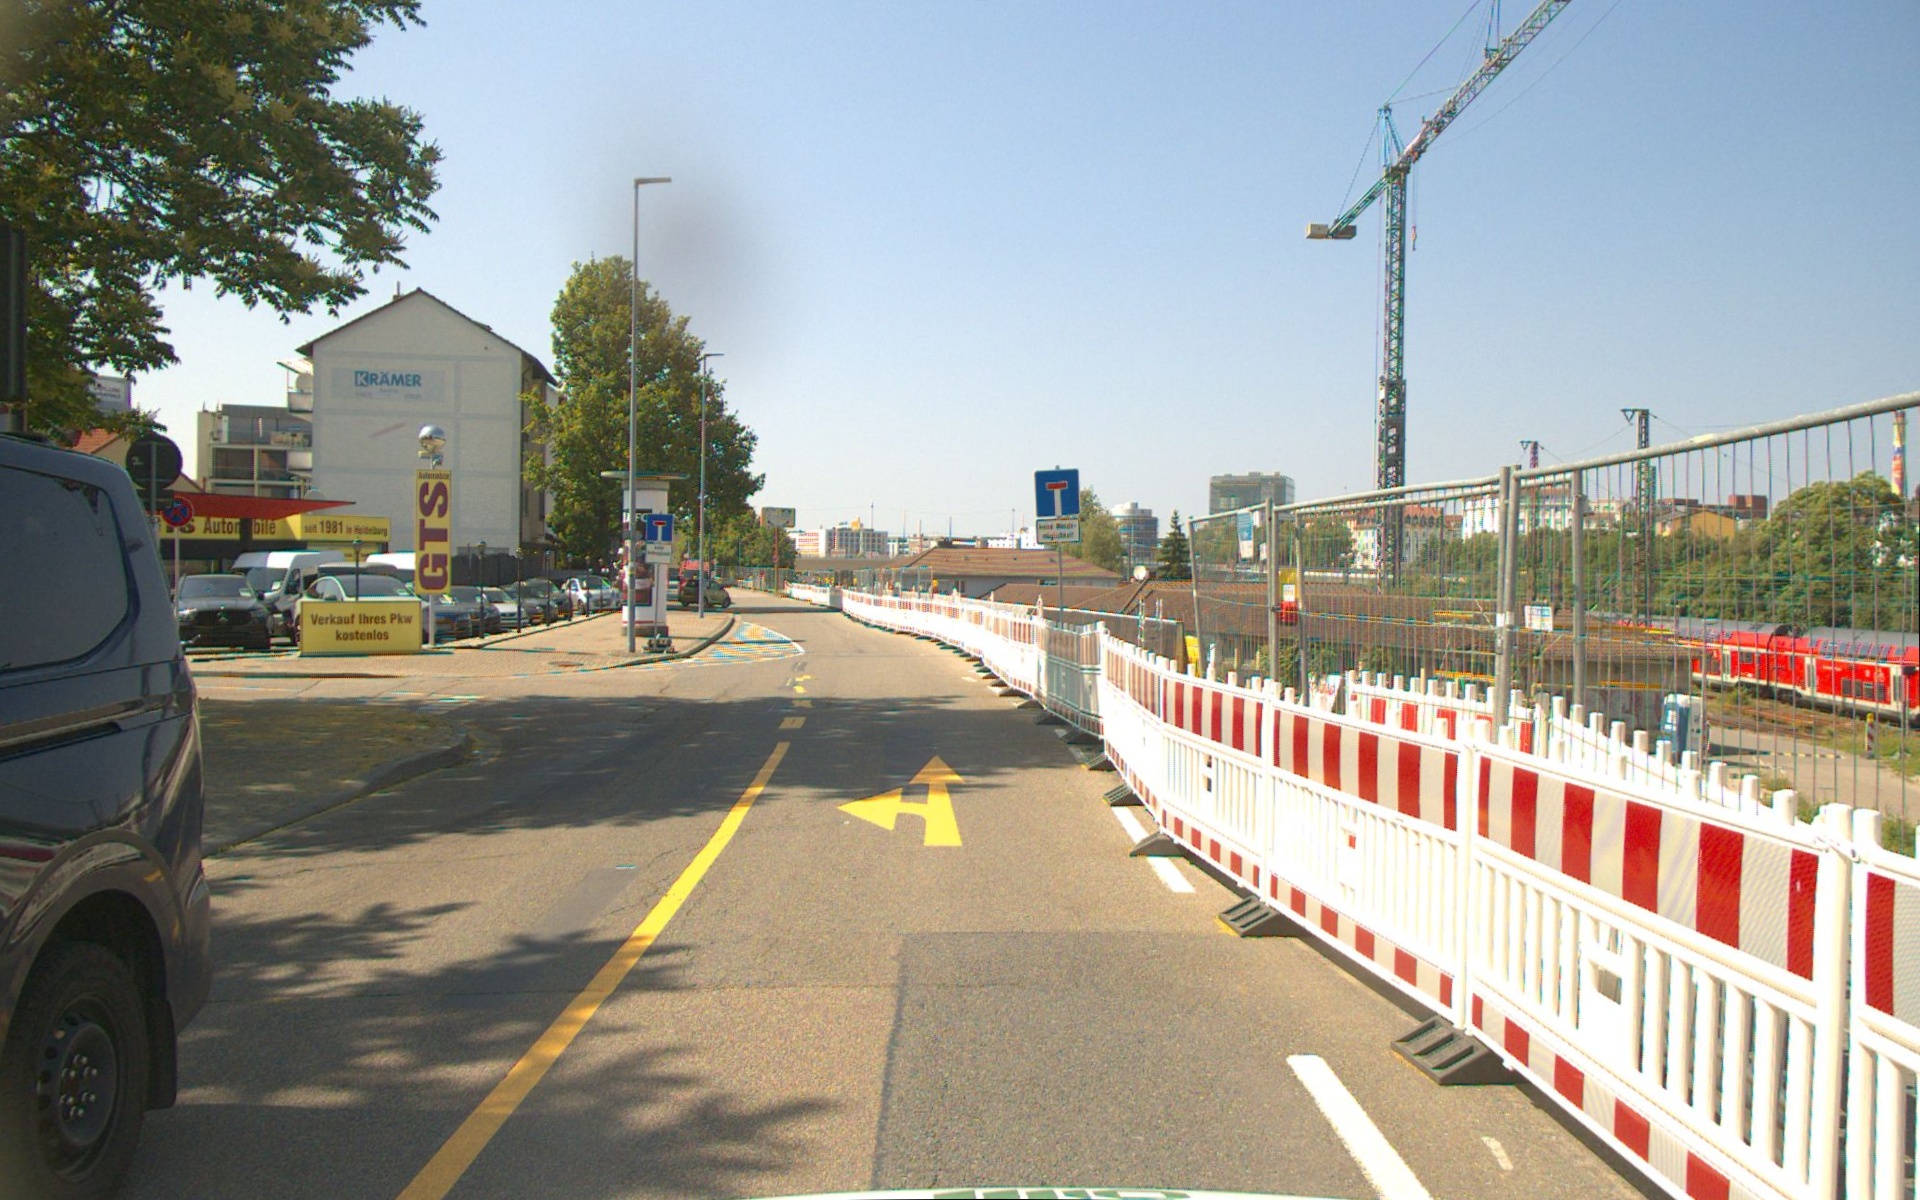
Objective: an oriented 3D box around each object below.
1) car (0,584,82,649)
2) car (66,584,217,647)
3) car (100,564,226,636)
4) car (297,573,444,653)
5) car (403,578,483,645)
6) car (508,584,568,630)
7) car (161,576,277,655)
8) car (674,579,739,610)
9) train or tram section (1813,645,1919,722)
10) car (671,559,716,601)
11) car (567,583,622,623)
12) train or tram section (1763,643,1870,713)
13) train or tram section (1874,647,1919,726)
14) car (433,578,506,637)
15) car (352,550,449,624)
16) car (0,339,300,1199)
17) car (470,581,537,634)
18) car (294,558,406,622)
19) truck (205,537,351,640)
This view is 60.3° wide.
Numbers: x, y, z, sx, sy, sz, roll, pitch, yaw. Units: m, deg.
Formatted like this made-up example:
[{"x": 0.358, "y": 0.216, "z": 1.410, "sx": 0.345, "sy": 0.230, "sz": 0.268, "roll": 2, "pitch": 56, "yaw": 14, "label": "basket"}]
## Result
[{"x": -24.991, "y": 0.401, "z": 42.101, "sx": 4.301, "sy": 1.613, "sz": 1.968, "roll": 2, "pitch": -1, "yaw": -44, "label": "car"}, {"x": -21.034, "y": 0.399, "z": 42.697, "sx": 1.751, "sy": 1.513, "sz": 4.001, "roll": 1, "pitch": 0, "yaw": 2, "label": "car"}, {"x": -24.300, "y": 0.015, "z": 50.606, "sx": 1.955, "sy": 2.049, "sz": 4.490, "roll": 1, "pitch": 0, "yaw": -5, "label": "car"}, {"x": -13.715, "y": 0.282, "z": 38.378, "sx": 1.981, "sy": 1.756, "sz": 3.942, "roll": 2, "pitch": -1, "yaw": -40, "label": "car"}, {"x": -13.601, "y": 0.274, "z": 43.374, "sx": 1.829, "sy": 1.657, "sz": 3.977, "roll": 1, "pitch": 0, "yaw": -20, "label": "car"}, {"x": -16.125, "y": 0.245, "z": 63.153, "sx": 1.829, "sy": 1.657, "sz": 3.977, "roll": 1, "pitch": 0, "yaw": -20, "label": "car"}, {"x": -16.390, "y": 0.324, "z": 36.466, "sx": 2.023, "sy": 1.622, "sz": 4.382, "roll": 1, "pitch": 0, "yaw": -28, "label": "car"}, {"x": -14.134, "y": -0.289, "z": 92.346, "sx": 1.696, "sy": 1.666, "sz": 3.260, "roll": 1, "pitch": -1, "yaw": 43, "label": "car"}, {"x": 50.458, "y": 4.523, "z": 91.564, "sx": 2.950, "sy": 3.779, "sz": 8.979, "roll": 3, "pitch": 0, "yaw": 9, "label": "train or tram section"}, {"x": -17.048, "y": -1.266, "z": 106.062, "sx": 2.488, "sy": 2.564, "sz": 5.112, "roll": 1, "pitch": 0, "yaw": -5, "label": "car"}, {"x": -15.740, "y": 0.128, "z": 71.131, "sx": 1.829, "sy": 1.657, "sz": 3.977, "roll": 1, "pitch": 0, "yaw": -20, "label": "car"}, {"x": 51.852, "y": 4.628, "z": 100.433, "sx": 2.950, "sy": 3.776, "sz": 8.979, "roll": 3, "pitch": 0, "yaw": 9, "label": "train or tram section"}, {"x": 49.098, "y": 4.414, "z": 82.669, "sx": 2.950, "sy": 3.766, "sz": 8.979, "roll": 3, "pitch": 0, "yaw": 9, "label": "train or tram section"}, {"x": -14.525, "y": 0.186, "z": 48.850, "sx": 1.829, "sy": 1.657, "sz": 3.977, "roll": 1, "pitch": 0, "yaw": -20, "label": "car"}, {"x": -18.626, "y": -0.438, "z": 55.259, "sx": 2.095, "sy": 2.324, "sz": 4.704, "roll": 1, "pitch": 0, "yaw": -7, "label": "car"}, {"x": -3.057, "y": 0.473, "z": 2.336, "sx": 2.132, "sy": 2.002, "sz": 5.442, "roll": -2, "pitch": 0, "yaw": -1, "label": "car"}, {"x": -15.049, "y": 0.211, "z": 54.422, "sx": 1.829, "sy": 1.657, "sz": 3.977, "roll": 1, "pitch": 0, "yaw": -20, "label": "car"}, {"x": -18.089, "y": -0.297, "z": 49.245, "sx": 1.840, "sy": 1.768, "sz": 4.718, "roll": 2, "pitch": 0, "yaw": -4, "label": "car"}, {"x": -21.109, "y": -0.345, "z": 51.527, "sx": 2.223, "sy": 2.954, "sz": 5.940, "roll": 2, "pitch": 0, "yaw": -3, "label": "truck"}]
